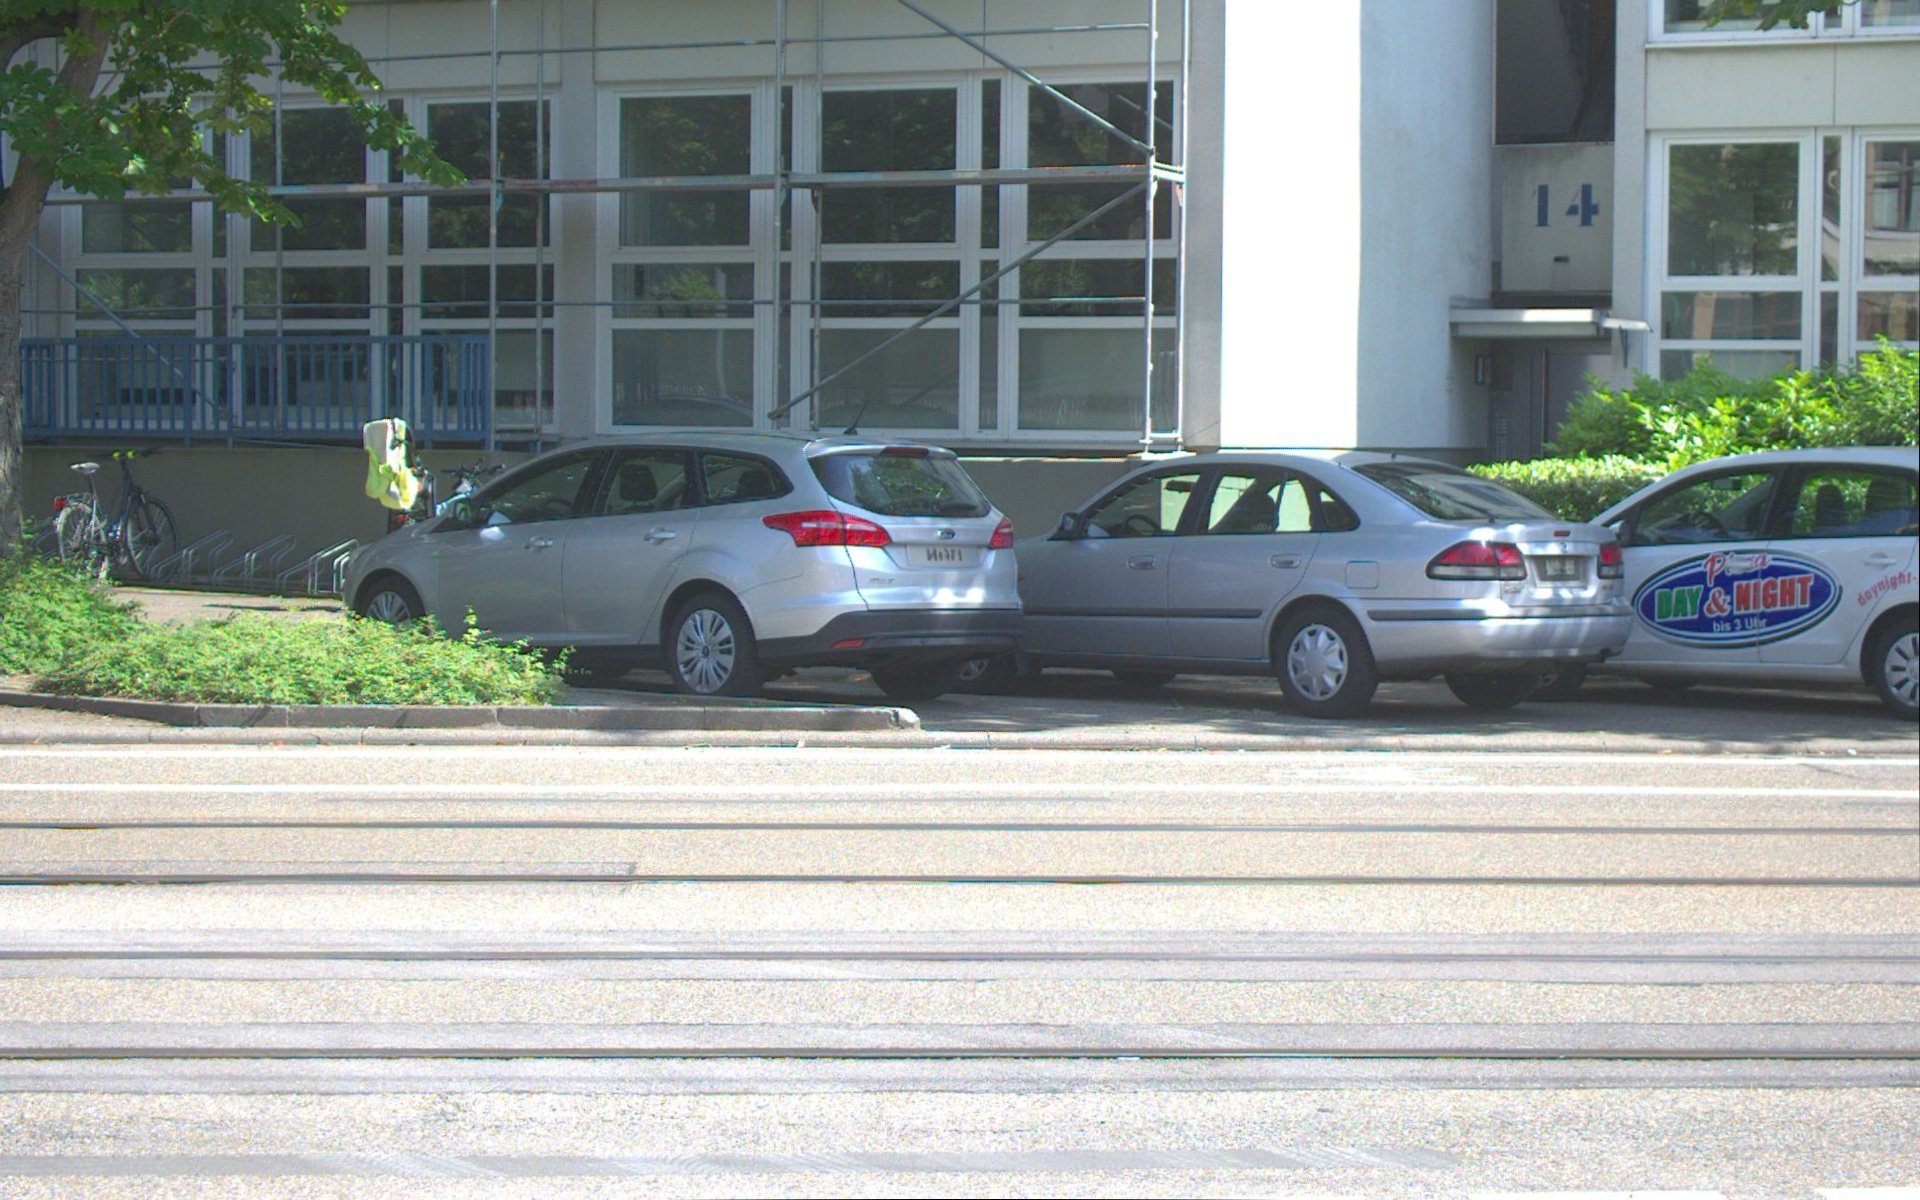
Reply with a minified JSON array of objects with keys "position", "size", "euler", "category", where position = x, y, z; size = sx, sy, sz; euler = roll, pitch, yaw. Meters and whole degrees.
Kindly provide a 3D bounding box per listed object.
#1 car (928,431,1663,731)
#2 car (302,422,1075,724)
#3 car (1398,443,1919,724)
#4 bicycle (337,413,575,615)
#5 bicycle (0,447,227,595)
[{"position":[1.797,-0.186,19.318],"size":[3.943,1.481,1.609],"euler":[3,4,44],"category":"car"},{"position":[-1.630,-0.236,19.431],"size":[4.432,1.481,1.780],"euler":[3,4,42],"category":"car"},{"position":[4.594,-0.146,19.670],"size":[3.942,1.481,1.609],"euler":[2,3,43],"category":"car"},{"position":[-3.770,-0.669,25.888],"size":[0.662,1.448,2.087],"euler":[2,3,28],"category":"bicycle"},{"position":[-6.545,-0.638,26.688],"size":[0.741,1.082,2.202],"euler":[1,3,15],"category":"bicycle"}]
